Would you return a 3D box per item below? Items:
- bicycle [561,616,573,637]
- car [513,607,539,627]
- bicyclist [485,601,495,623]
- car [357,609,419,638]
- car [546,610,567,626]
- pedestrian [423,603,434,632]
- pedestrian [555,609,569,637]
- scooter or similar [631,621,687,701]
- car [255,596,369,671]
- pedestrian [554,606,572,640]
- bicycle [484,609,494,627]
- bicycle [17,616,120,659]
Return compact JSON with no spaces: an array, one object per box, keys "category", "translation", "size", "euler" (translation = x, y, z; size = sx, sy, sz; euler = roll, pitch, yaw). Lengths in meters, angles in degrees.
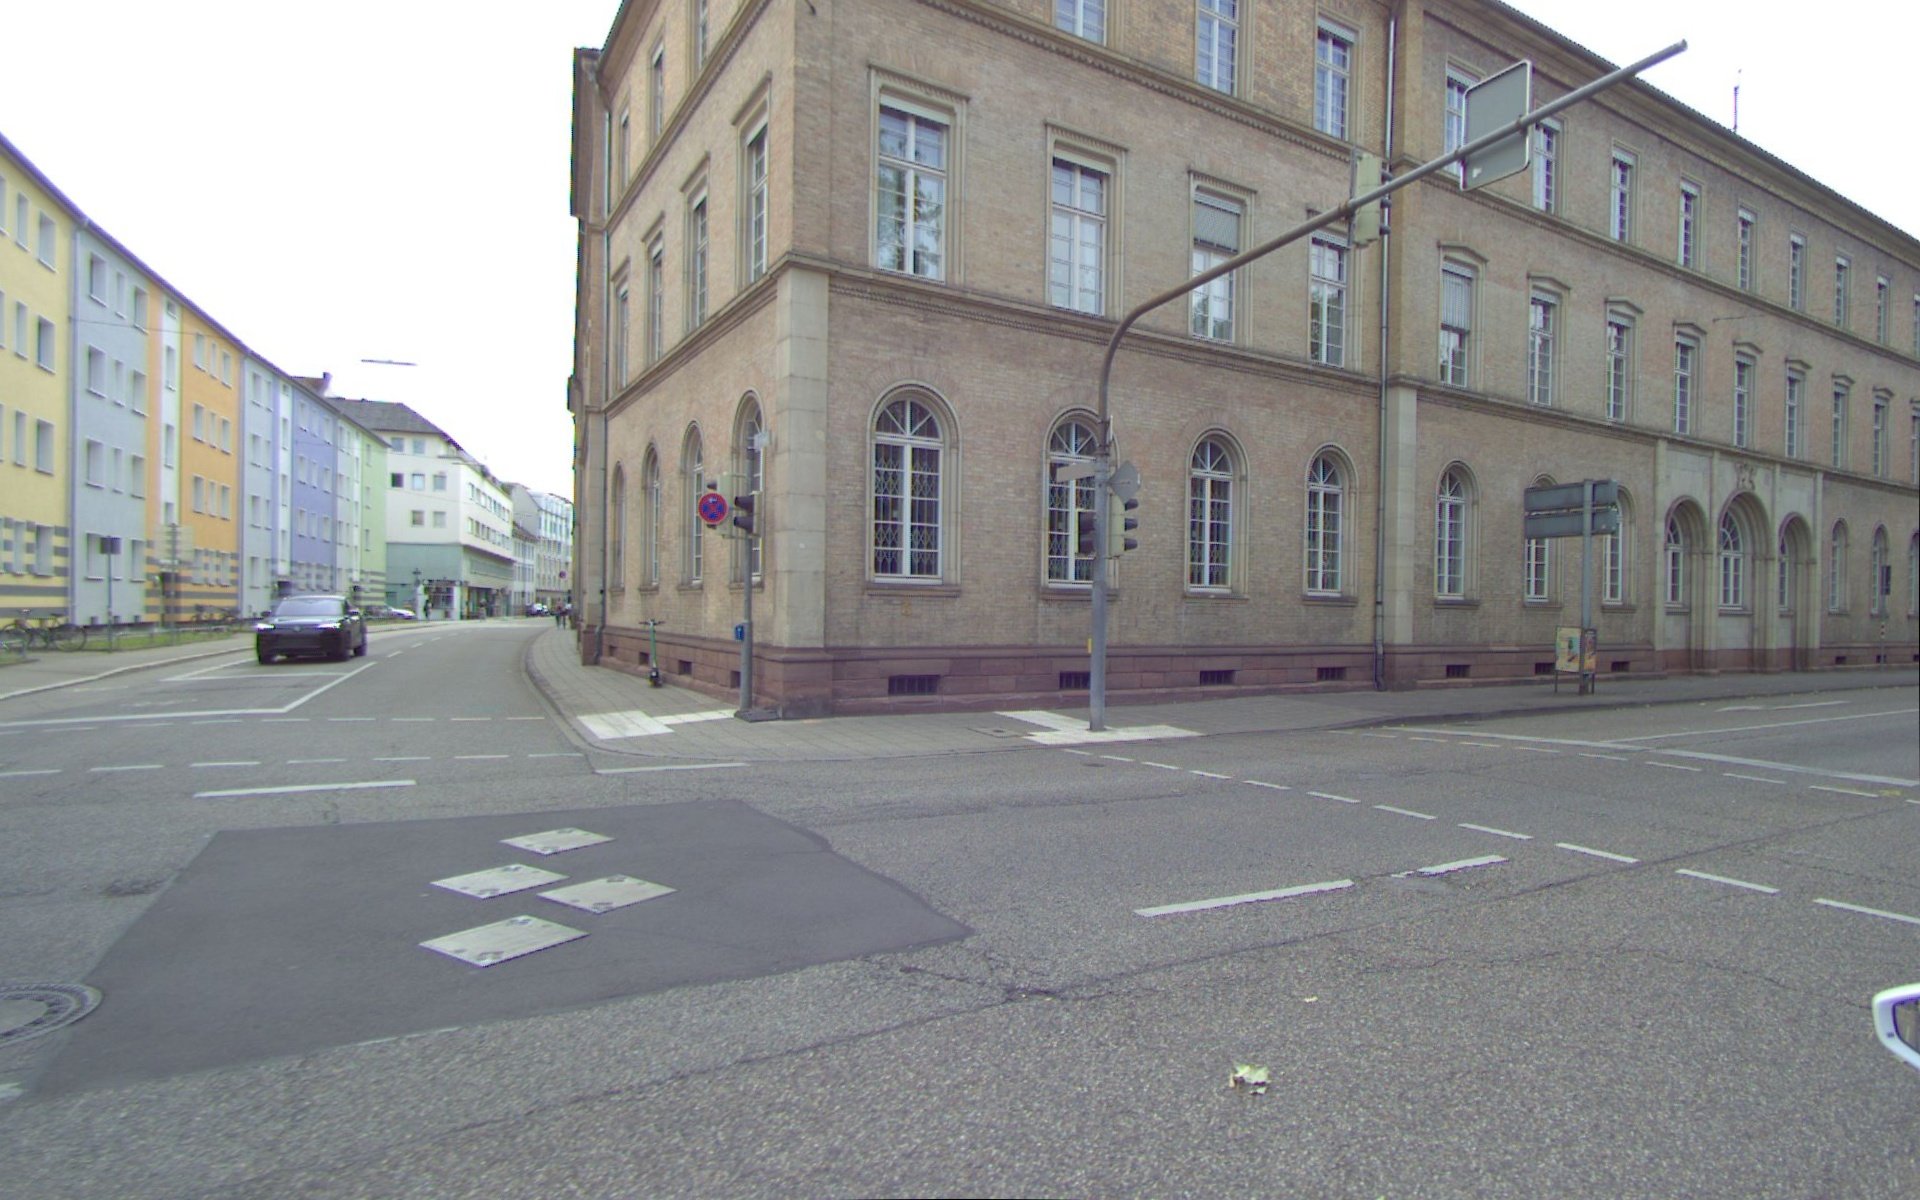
[{"category":"bicycle","translation":[-22.830,1.536,58.349],"size":[0.560,1.085,2.256],"euler":[1,1,-19]},{"category":"car","translation":[-49.212,1.909,113.950],"size":[1.966,2.041,3.988],"euler":[1,1,-14]},{"category":"bicyclist","translation":[-36.946,0.956,78.891],"size":[0.679,1.634,1.138],"euler":[1,2,-25]},{"category":"car","translation":[-42.987,1.765,75.637],"size":[3.950,2.041,1.985],"euler":[1,1,-28]},{"category":"car","translation":[-55.011,2.463,136.893],"size":[1.965,2.041,3.990],"euler":[1,1,-12]},{"category":"pedestrian","translation":[-38.156,1.283,72.108],"size":[0.543,2.041,0.731],"euler":[1,1,-11]},{"category":"pedestrian","translation":[-23.307,1.345,58.850],"size":[0.721,1.570,0.550],"euler":[1,1,-16]},{"category":"scooter or similar","translation":[-5.205,1.005,17.305],"size":[0.553,1.180,2.360],"euler":[1,1,-26]},{"category":"car","translation":[-16.170,0.769,25.248],"size":[1.873,1.622,3.974],"euler":[1,1,-25]},{"category":"pedestrian","translation":[-23.296,1.346,58.954],"size":[0.867,1.962,0.798],"euler":[1,1,-16]},{"category":"bicycle","translation":[-36.941,1.388,78.856],"size":[0.679,1.235,2.840],"euler":[1,1,-25]},{"category":"bicycle","translation":[-22.425,0.945,25.311],"size":[1.842,1.025,0.558],"euler":[1,2,-27]}]
